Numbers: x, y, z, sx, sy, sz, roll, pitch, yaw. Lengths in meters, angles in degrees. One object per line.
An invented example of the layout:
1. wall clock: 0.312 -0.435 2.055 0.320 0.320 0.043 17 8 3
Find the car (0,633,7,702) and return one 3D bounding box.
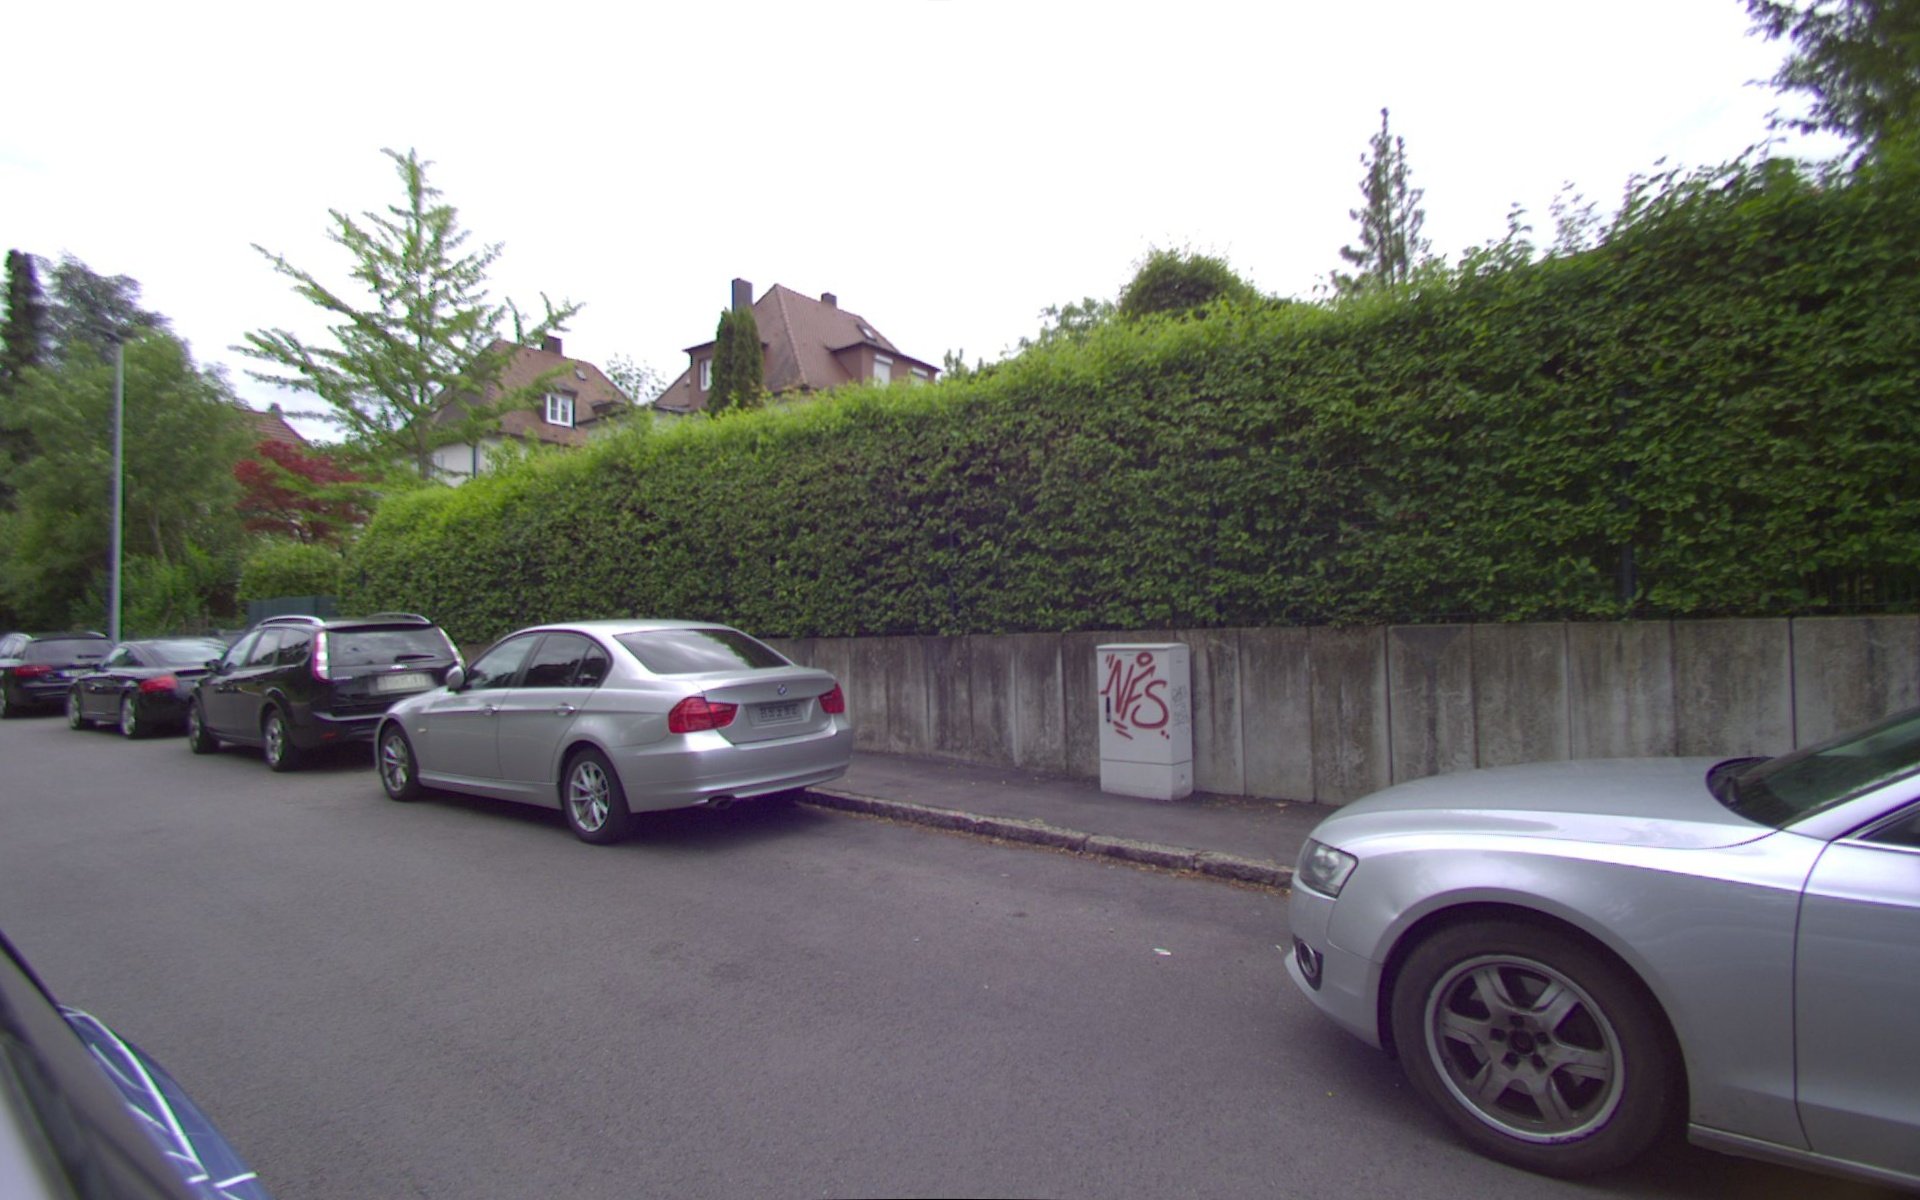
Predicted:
1. car: -23.091 1.522 22.791 3.580 1.526 1.575 -2 -1 33

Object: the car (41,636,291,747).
1. car: -11.564 1.231 14.665 4.097 1.351 1.697 -2 -1 34

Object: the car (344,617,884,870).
1. car: -2.791 0.865 7.689 4.333 1.384 1.758 -2 -1 37

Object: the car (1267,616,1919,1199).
1. car: 3.171 0.731 2.185 4.443 1.384 1.812 -2 -1 42

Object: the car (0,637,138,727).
1. car: -16.625 1.386 18.229 4.654 1.395 1.703 -2 -2 36

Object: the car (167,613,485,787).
1. car: -7.136 0.964 11.192 4.469 1.545 1.640 -2 -1 39
